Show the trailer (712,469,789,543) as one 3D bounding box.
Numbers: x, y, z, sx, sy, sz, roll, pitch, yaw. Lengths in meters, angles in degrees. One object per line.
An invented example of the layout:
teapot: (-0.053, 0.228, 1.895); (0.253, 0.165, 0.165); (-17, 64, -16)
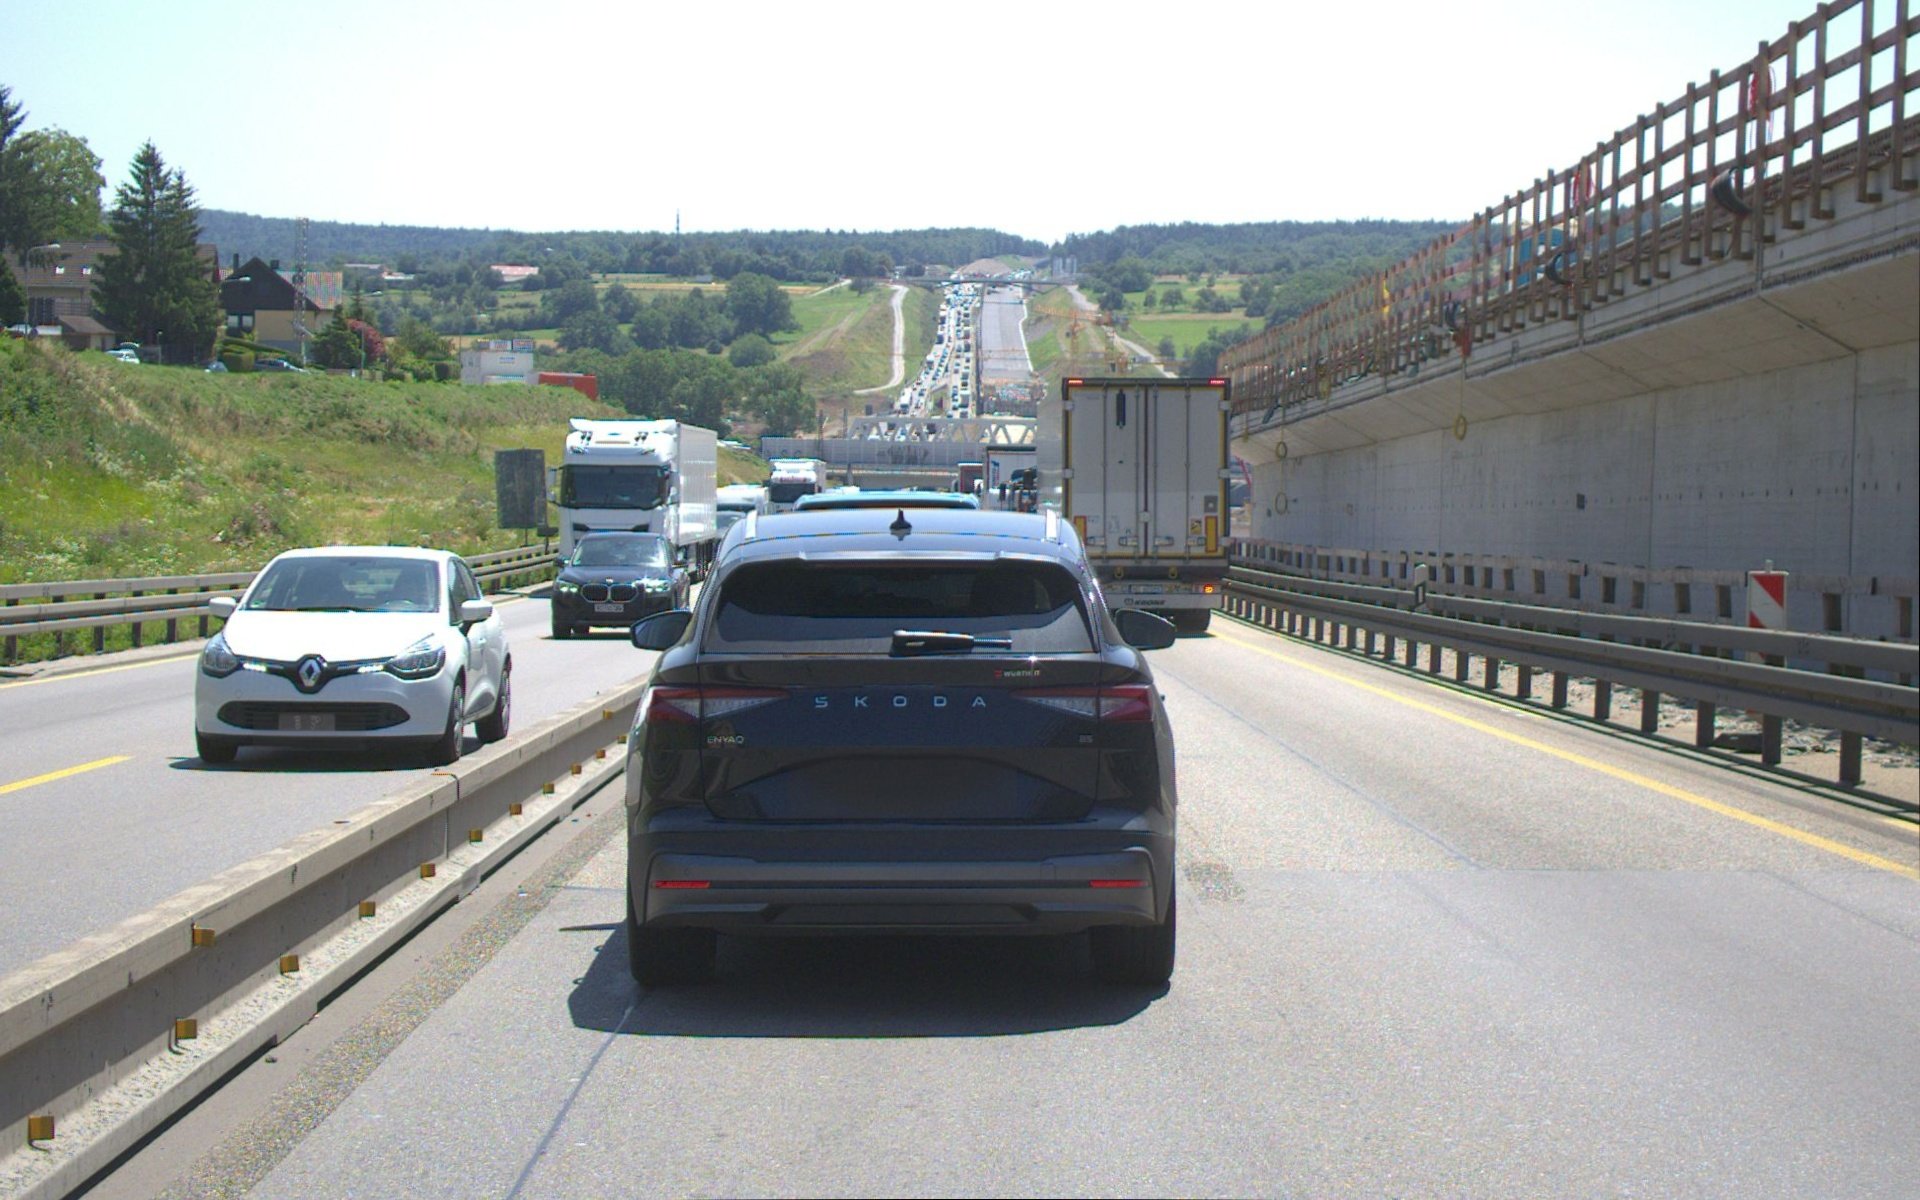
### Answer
trailer: (-7.839, -3.512, 129.408); (2.485, 2.604, 5.867); (0, 0, 0)

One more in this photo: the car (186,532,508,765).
car: (-4.190, 0.279, 23.985); (1.691, 1.481, 3.750); (1, 1, -2)

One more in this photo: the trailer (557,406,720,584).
trailer: (-8.000, -2.591, 87.155); (3.220, 4.144, 13.409); (0, 1, -2)

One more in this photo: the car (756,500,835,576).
car: (-4.031, -1.527, 84.710); (1.775, 1.814, 4.434); (1, 1, -1)

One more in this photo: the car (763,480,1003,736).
car: (-0.686, 0.034, 28.321); (1.749, 1.889, 3.756); (3, 1, -3)

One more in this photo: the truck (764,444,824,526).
truck: (-8.849, -6.121, 183.918); (2.753, 4.212, 8.100); (1, 1, 0)

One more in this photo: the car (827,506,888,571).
car: (-3.315, -1.974, 111.688); (1.862, 2.007, 4.805); (1, 0, -1)

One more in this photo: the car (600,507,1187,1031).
car: (-0.258, 0.491, 12.419); (1.782, 1.592, 3.755); (1, 1, -2)

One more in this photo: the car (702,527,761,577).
car: (-8.016, -1.677, 121.037); (1.747, 1.579, 4.000); (4, 0, -1)

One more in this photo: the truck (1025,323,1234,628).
truck: (2.698, -1.934, 58.471); (2.846, 4.599, 11.811); (1, 0, 0)

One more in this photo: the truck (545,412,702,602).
truck: (-7.803, -2.117, 80.421); (3.180, 4.223, 6.485); (1, 0, -2)

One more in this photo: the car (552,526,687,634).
car: (-5.107, -0.338, 52.000); (1.700, 1.555, 4.104); (0, 1, -1)
